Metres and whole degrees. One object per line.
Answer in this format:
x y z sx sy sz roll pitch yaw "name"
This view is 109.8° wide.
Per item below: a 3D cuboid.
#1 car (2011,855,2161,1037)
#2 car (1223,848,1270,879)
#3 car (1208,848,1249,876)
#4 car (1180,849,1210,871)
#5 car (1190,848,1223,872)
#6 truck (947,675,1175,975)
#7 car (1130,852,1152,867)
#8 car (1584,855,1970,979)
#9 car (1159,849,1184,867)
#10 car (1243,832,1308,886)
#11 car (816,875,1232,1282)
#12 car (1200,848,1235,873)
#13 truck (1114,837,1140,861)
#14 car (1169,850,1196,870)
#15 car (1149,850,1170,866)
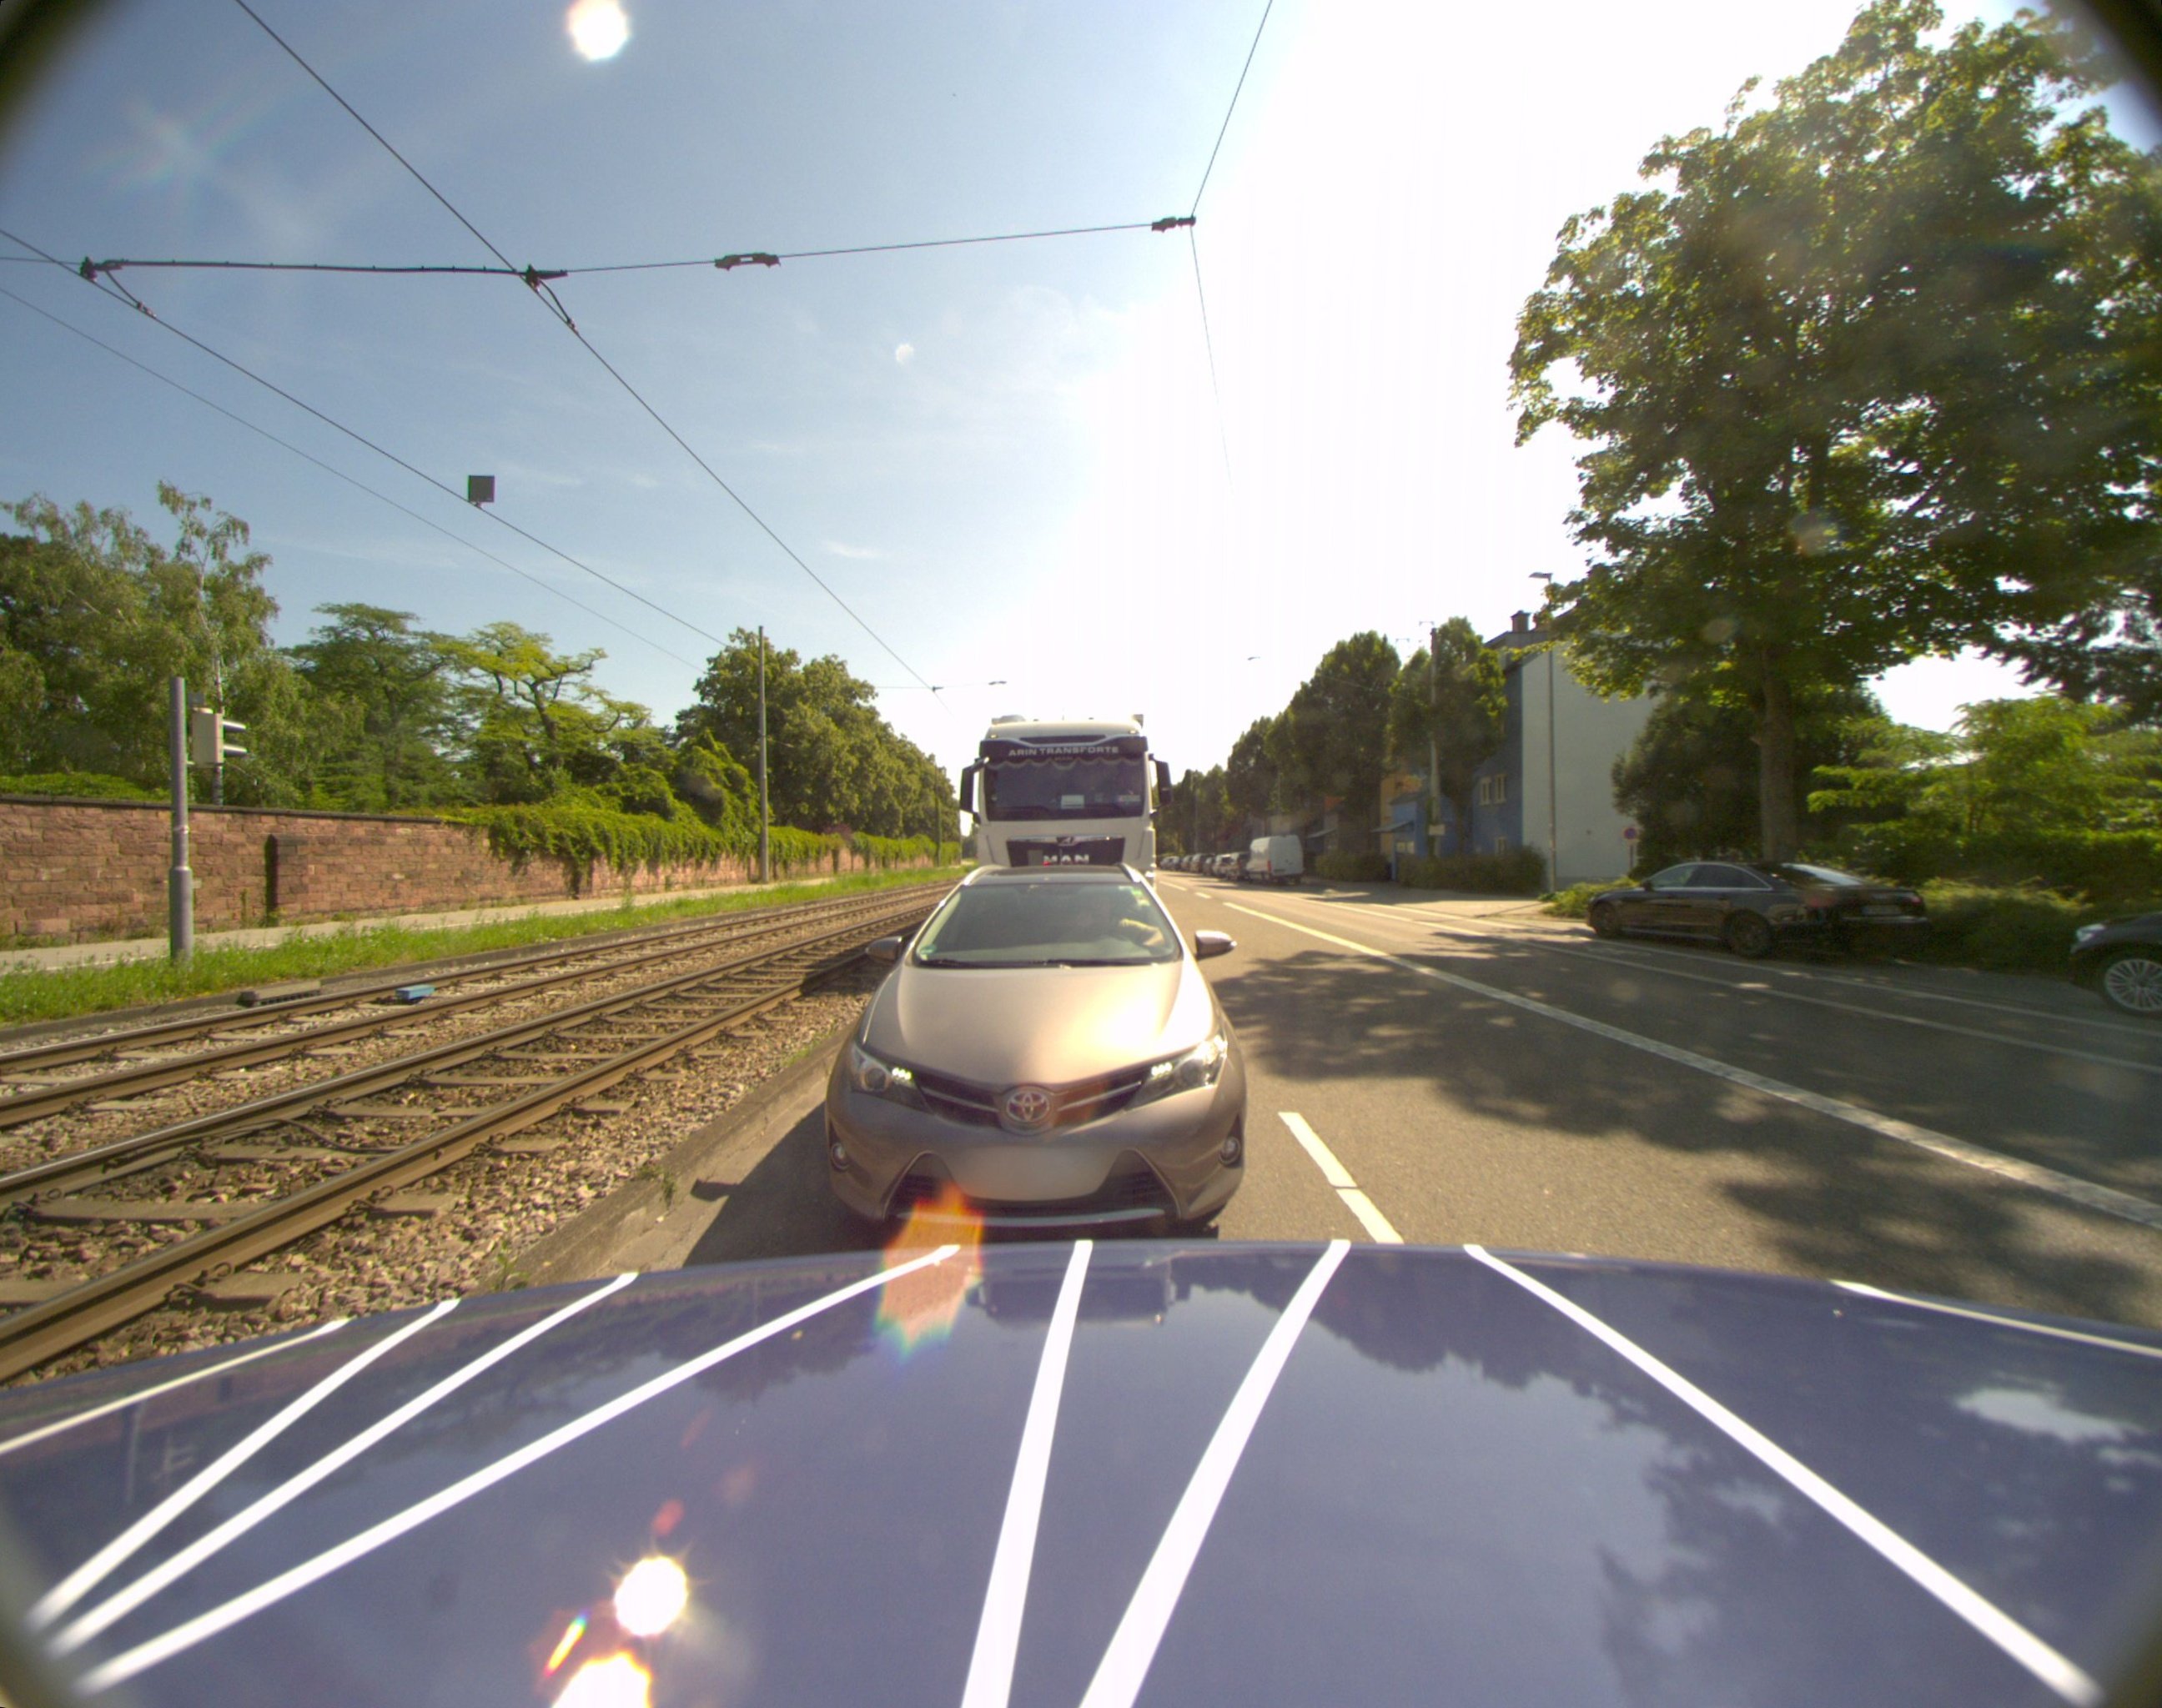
10.589 0.823 5.572 1.868 1.562 4.621 -2 0 0 "car"
11.144 0.633 51.449 1.998 1.795 4.769 -6 0 0 "car"
11.071 0.578 57.357 1.998 1.795 4.769 -6 0 0 "car"
10.945 0.566 73.380 1.998 1.795 4.769 -6 0 0 "car"
11.127 0.531 67.676 1.998 1.795 4.769 -6 0 0 "car"
-0.161 -0.391 17.248 2.935 3.856 14.912 0 0 1 "truck"
8.285 0.795 105.572 1.999 1.795 5.111 -6 0 -4 "car"
10.565 0.823 12.162 1.868 1.562 4.621 -1 0 -2 "car"
10.181 0.482 85.913 1.998 1.795 4.769 -6 0 0 "car"
10.915 0.249 43.153 1.998 2.678 6.214 -6 0 2 "car"
-0.192 0.910 4.885 1.573 1.422 4.000 0 0 1 "car"
11.228 0.539 62.865 1.998 1.795 4.256 -6 0 0 "car"
6.992 -0.677 116.109 2.704 3.263 6.724 -6 0 -5 "truck"
10.577 0.632 79.169 1.998 1.795 4.769 -6 0 0 "car"
9.934 0.479 96.873 1.998 1.795 4.769 -6 0 0 "car"
